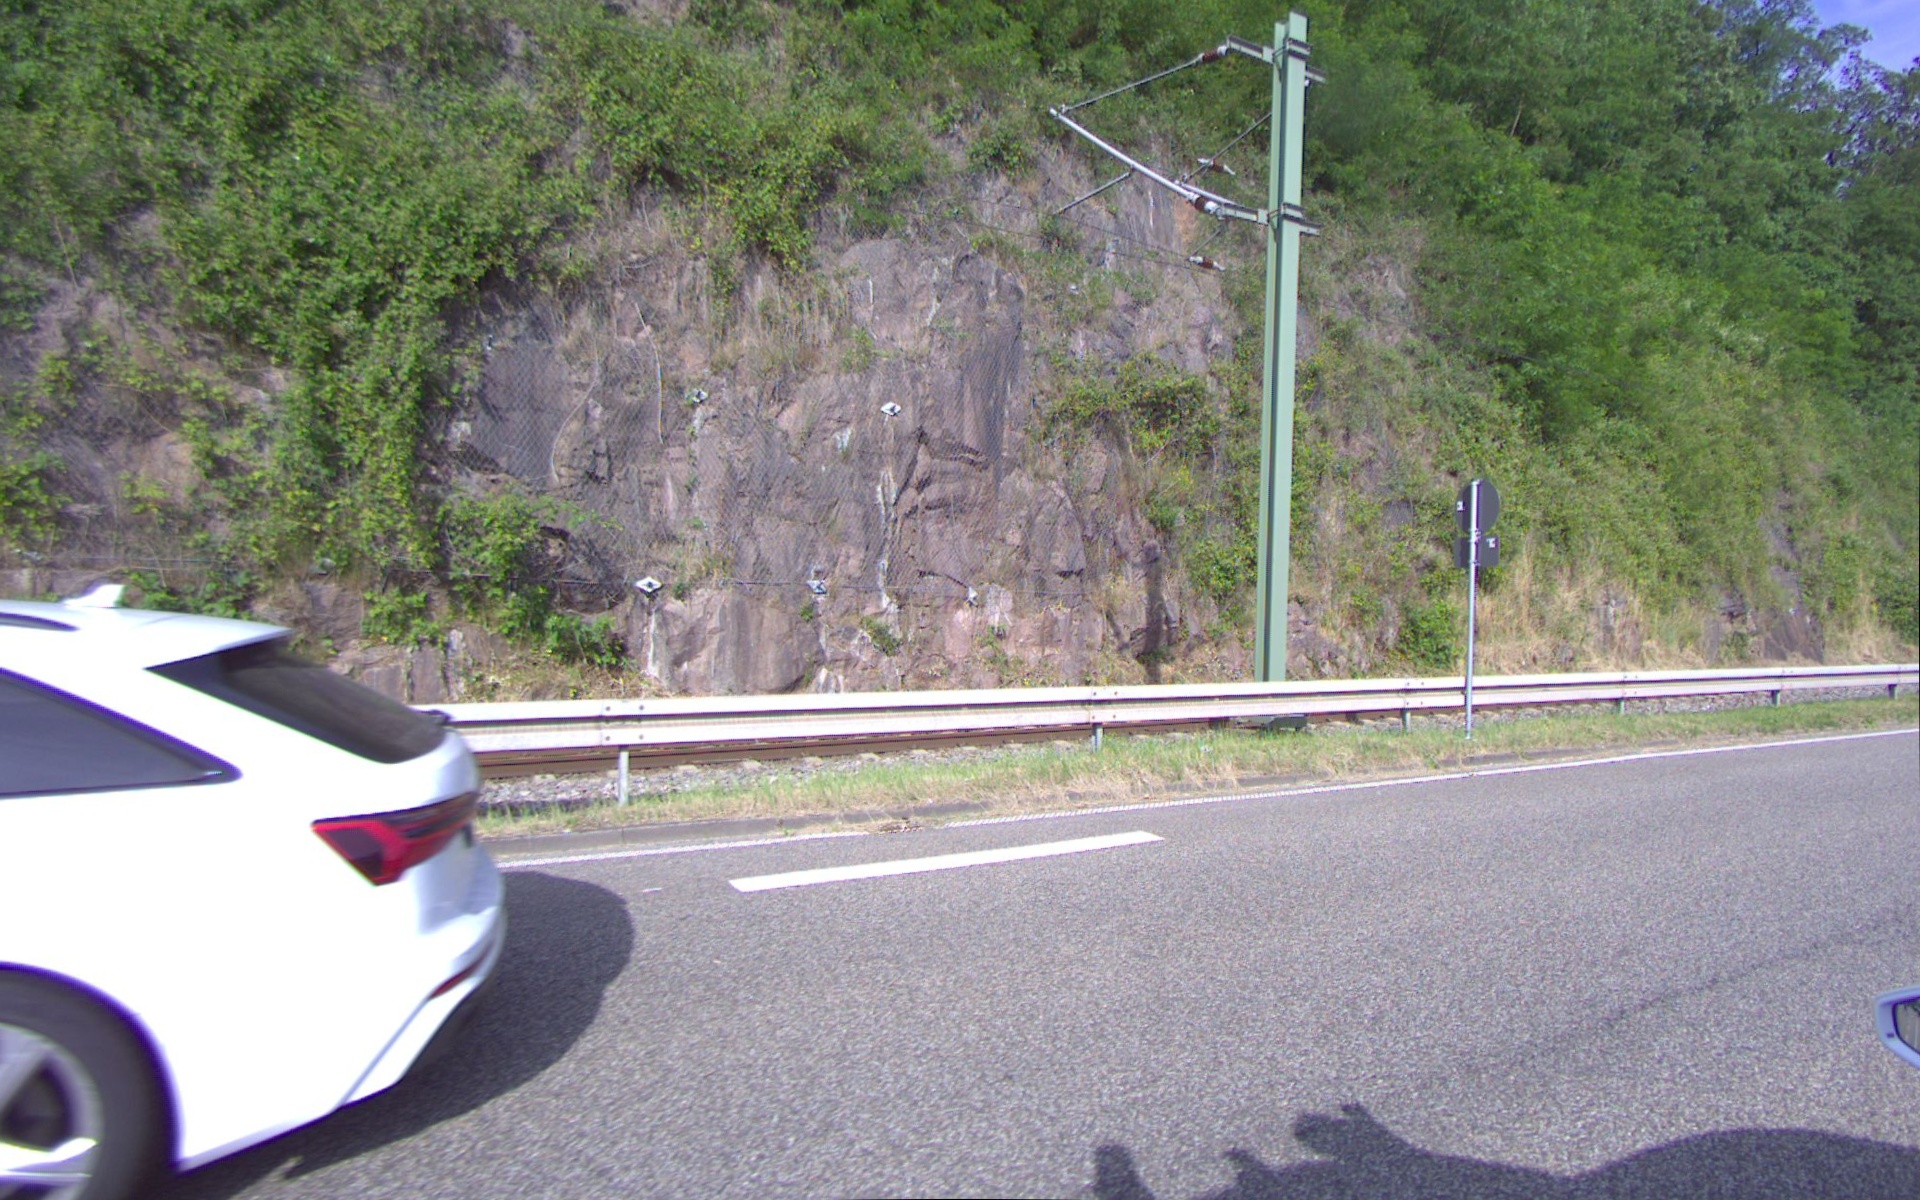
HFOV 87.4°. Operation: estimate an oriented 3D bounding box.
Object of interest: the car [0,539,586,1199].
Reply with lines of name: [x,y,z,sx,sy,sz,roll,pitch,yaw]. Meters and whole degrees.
car: [-3.444,0.595,2.320,4.627,1.458,2.055,1,-1,-28]
